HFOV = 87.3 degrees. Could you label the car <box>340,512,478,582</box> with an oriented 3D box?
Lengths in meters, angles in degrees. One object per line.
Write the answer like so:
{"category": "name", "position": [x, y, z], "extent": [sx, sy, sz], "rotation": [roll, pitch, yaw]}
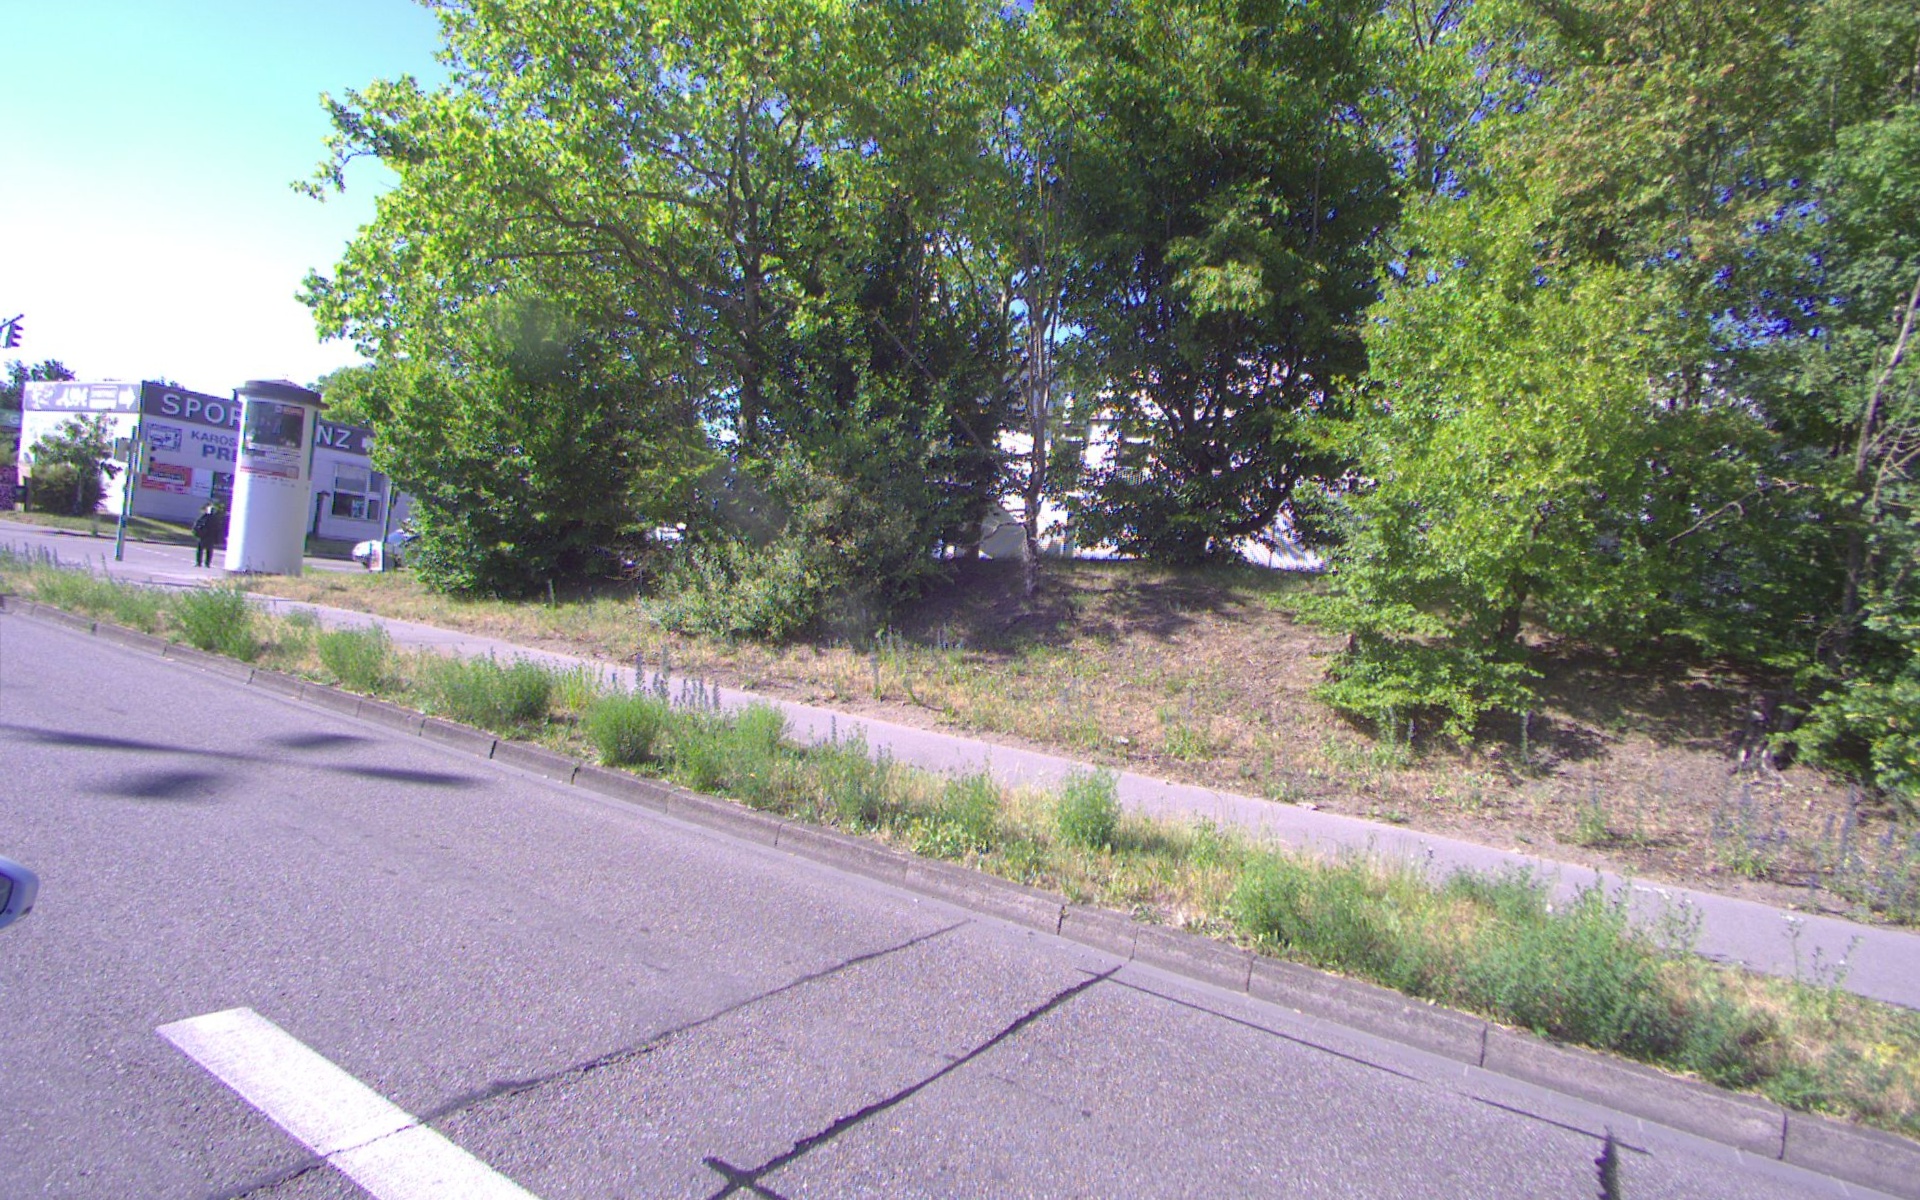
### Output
{"category": "car", "position": [-22.314, -2.111, 40.924], "extent": [1.965, 2.171, 4.415], "rotation": [7, -1, 28]}

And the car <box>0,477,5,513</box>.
{"category": "car", "position": [-48.304, -5.344, 47.691], "extent": [1.663, 1.726, 4.003], "rotation": [7, -1, 16]}

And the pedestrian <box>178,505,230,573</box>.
{"category": "pedestrian", "position": [-21.064, -1.699, 28.021], "extent": [0.841, 1.743, 0.822], "rotation": [7, 0, 39]}
